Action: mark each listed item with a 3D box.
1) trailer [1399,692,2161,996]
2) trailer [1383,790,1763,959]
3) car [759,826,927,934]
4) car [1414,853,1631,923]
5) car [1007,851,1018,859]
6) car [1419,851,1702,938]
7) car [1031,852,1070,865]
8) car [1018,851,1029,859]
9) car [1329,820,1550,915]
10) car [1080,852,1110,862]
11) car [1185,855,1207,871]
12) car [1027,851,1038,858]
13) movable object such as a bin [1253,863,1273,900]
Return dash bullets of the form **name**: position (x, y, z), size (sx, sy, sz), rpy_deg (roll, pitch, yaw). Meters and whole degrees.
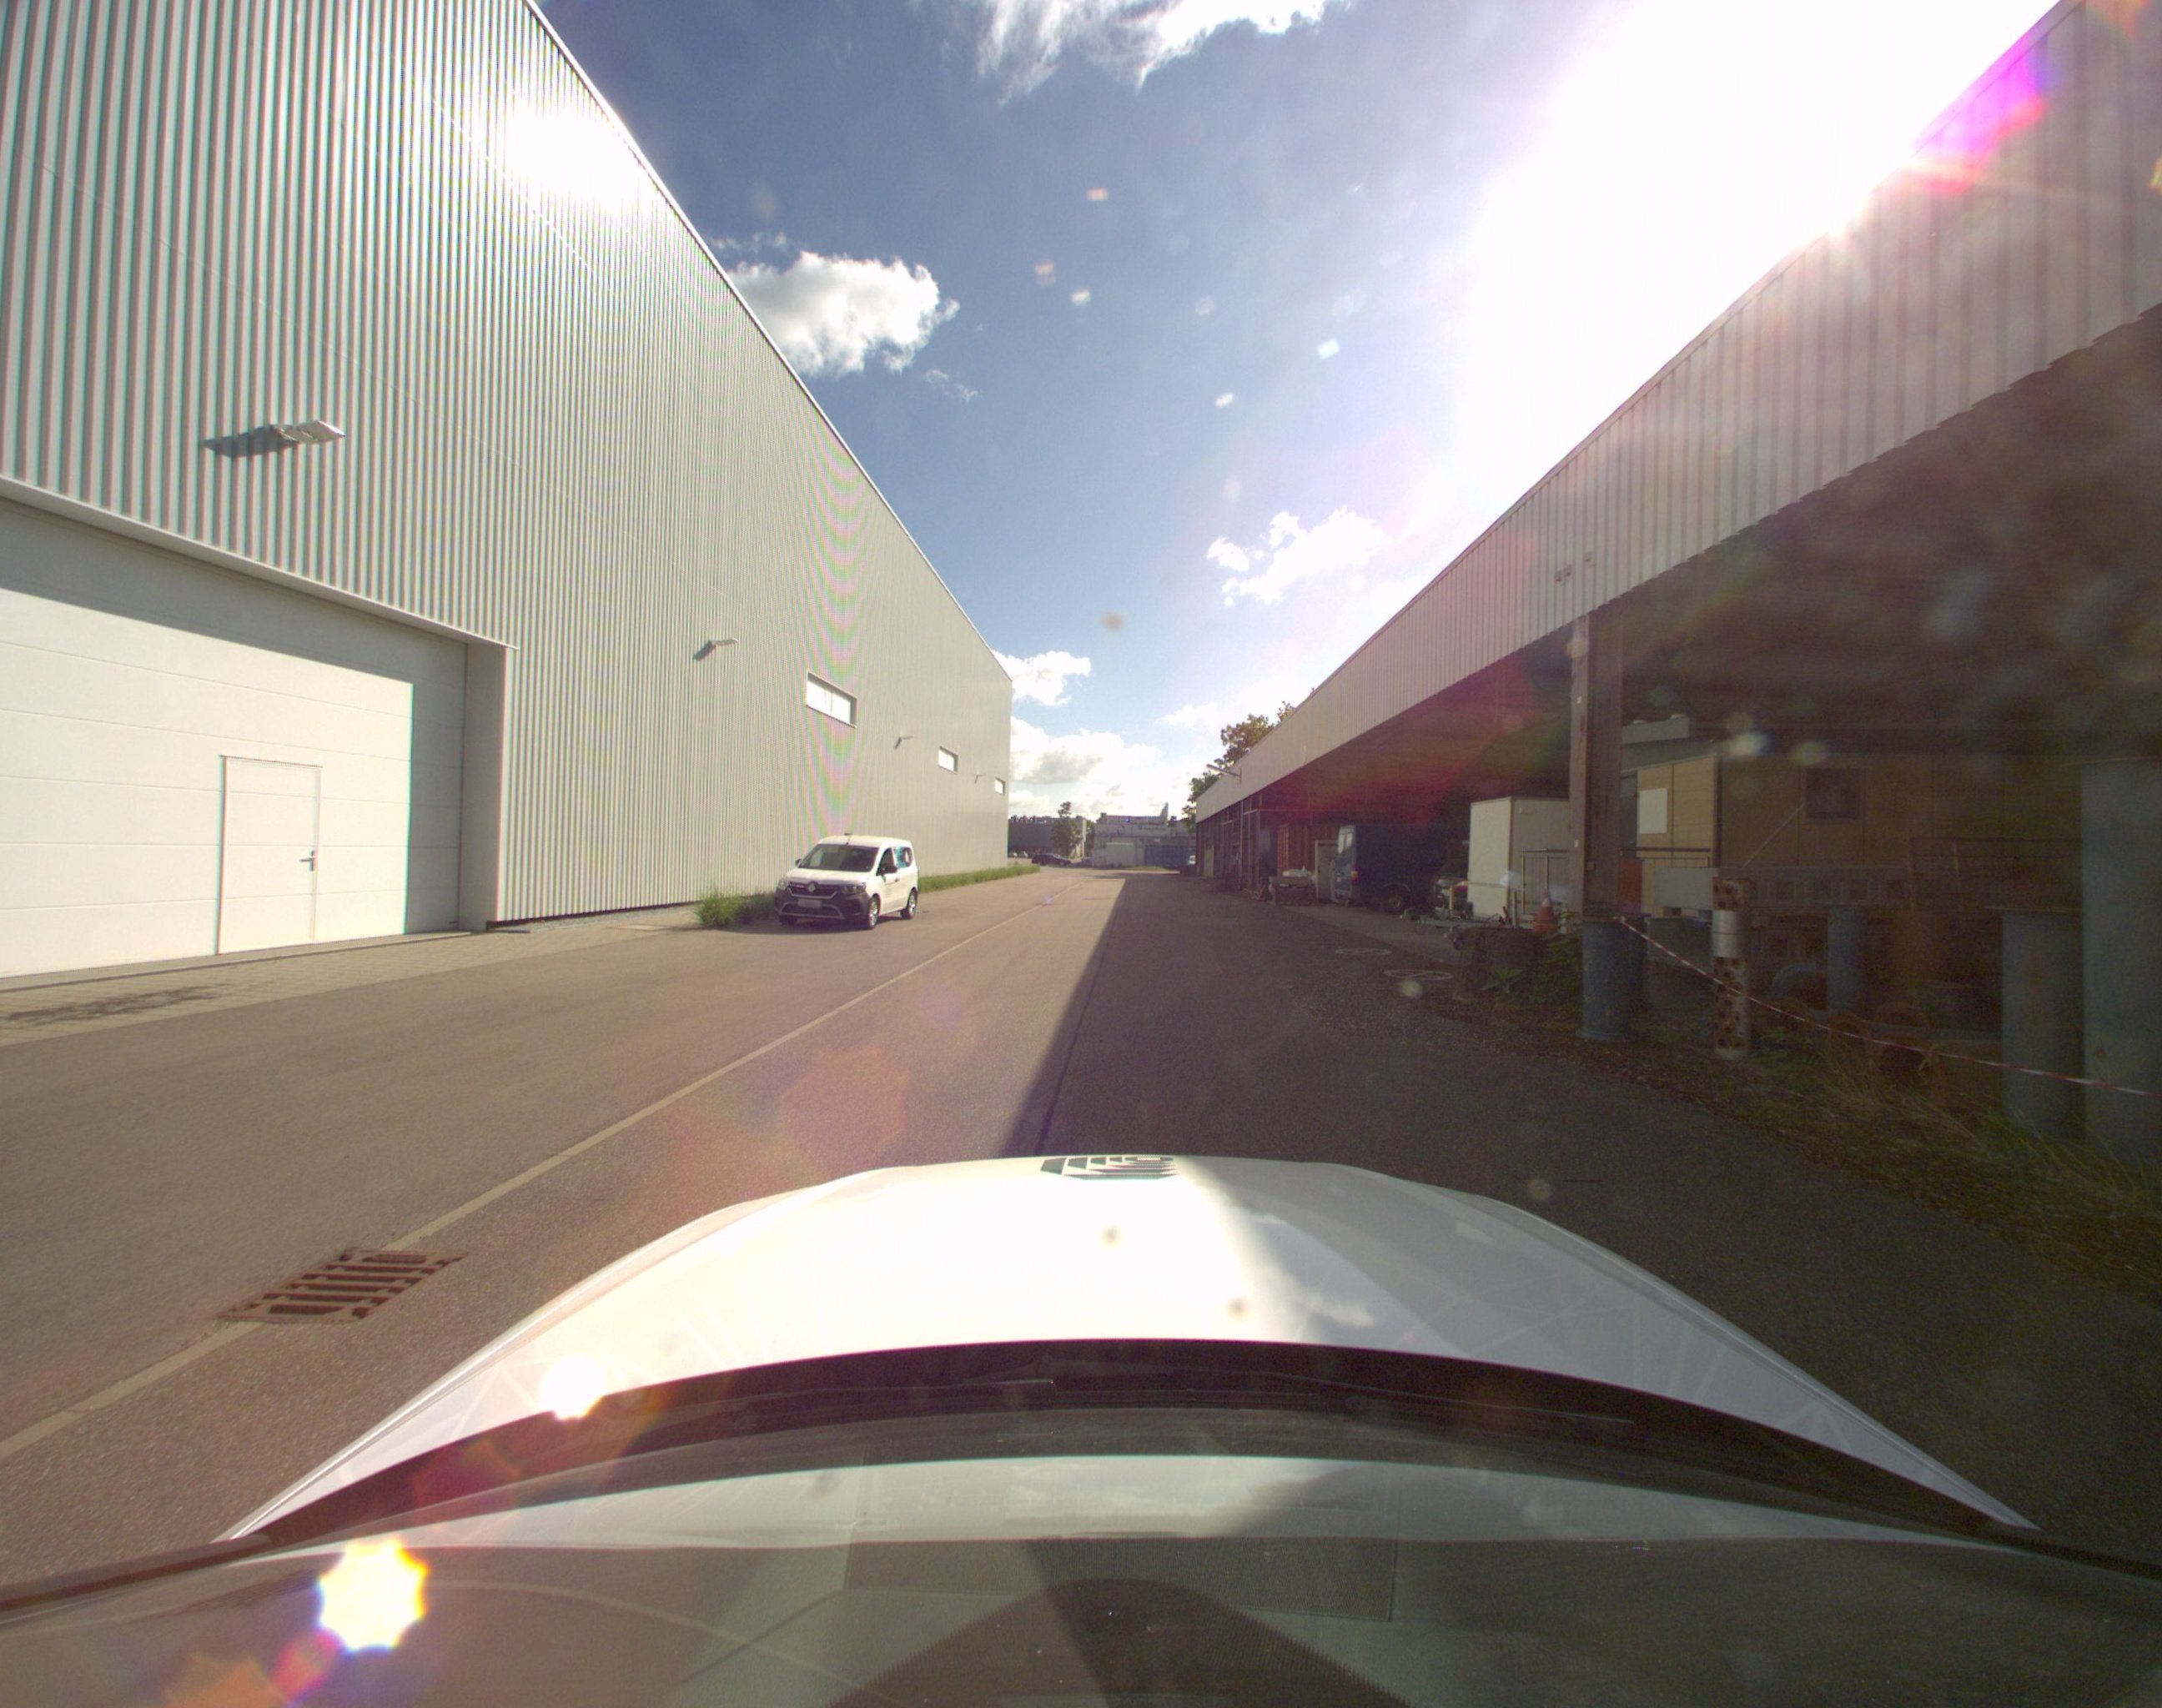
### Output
- **trailer**: position (9.508, -0.121, 10.121), size (9.995, 3.216, 2.856), rpy_deg (0, 0, 3)
- **trailer**: position (7.428, 0.272, 12.772), size (4.785, 2.391, 1.831), rpy_deg (0, 0, 8)
- **car**: position (-4.722, 0.472, 16.895), size (1.882, 1.845, 4.362), rpy_deg (3, 0, 3)
- **car**: position (9.884, 0.736, 18.430), size (3.975, 1.472, 1.787), rpy_deg (0, 0, -1)
- **car**: position (-16.564, 0.270, 196.851), size (1.985, 1.736, 4.003), rpy_deg (-1, -1, 3)
- **car**: position (8.873, 0.718, 15.345), size (4.313, 1.496, 1.777), rpy_deg (0, 0, 1)
- **car**: position (-3.654, 0.574, 99.199), size (4.504, 1.508, 1.911), rpy_deg (0, 0, 5)
- **car**: position (-13.970, 0.218, 197.065), size (2.184, 1.736, 4.003), rpy_deg (-1, -1, 3)
- **car**: position (9.278, 0.327, 21.433), size (4.957, 2.325, 2.002), rpy_deg (1, 0, 3)
- **car**: position (2.259, 0.427, 126.560), size (4.505, 1.508, 1.911), rpy_deg (1, 0, 4)
- **car**: position (12.076, 0.928, 85.619), size (1.985, 1.585, 4.176), rpy_deg (1, 1, 3)
- **car**: position (-11.538, 0.151, 195.228), size (2.184, 1.736, 4.003), rpy_deg (-1, -1, 3)
- **movable object such as a bin**: position (6.090, 0.908, 27.283), size (0.578, 1.164, 1.241), rpy_deg (0, 0, 8)
